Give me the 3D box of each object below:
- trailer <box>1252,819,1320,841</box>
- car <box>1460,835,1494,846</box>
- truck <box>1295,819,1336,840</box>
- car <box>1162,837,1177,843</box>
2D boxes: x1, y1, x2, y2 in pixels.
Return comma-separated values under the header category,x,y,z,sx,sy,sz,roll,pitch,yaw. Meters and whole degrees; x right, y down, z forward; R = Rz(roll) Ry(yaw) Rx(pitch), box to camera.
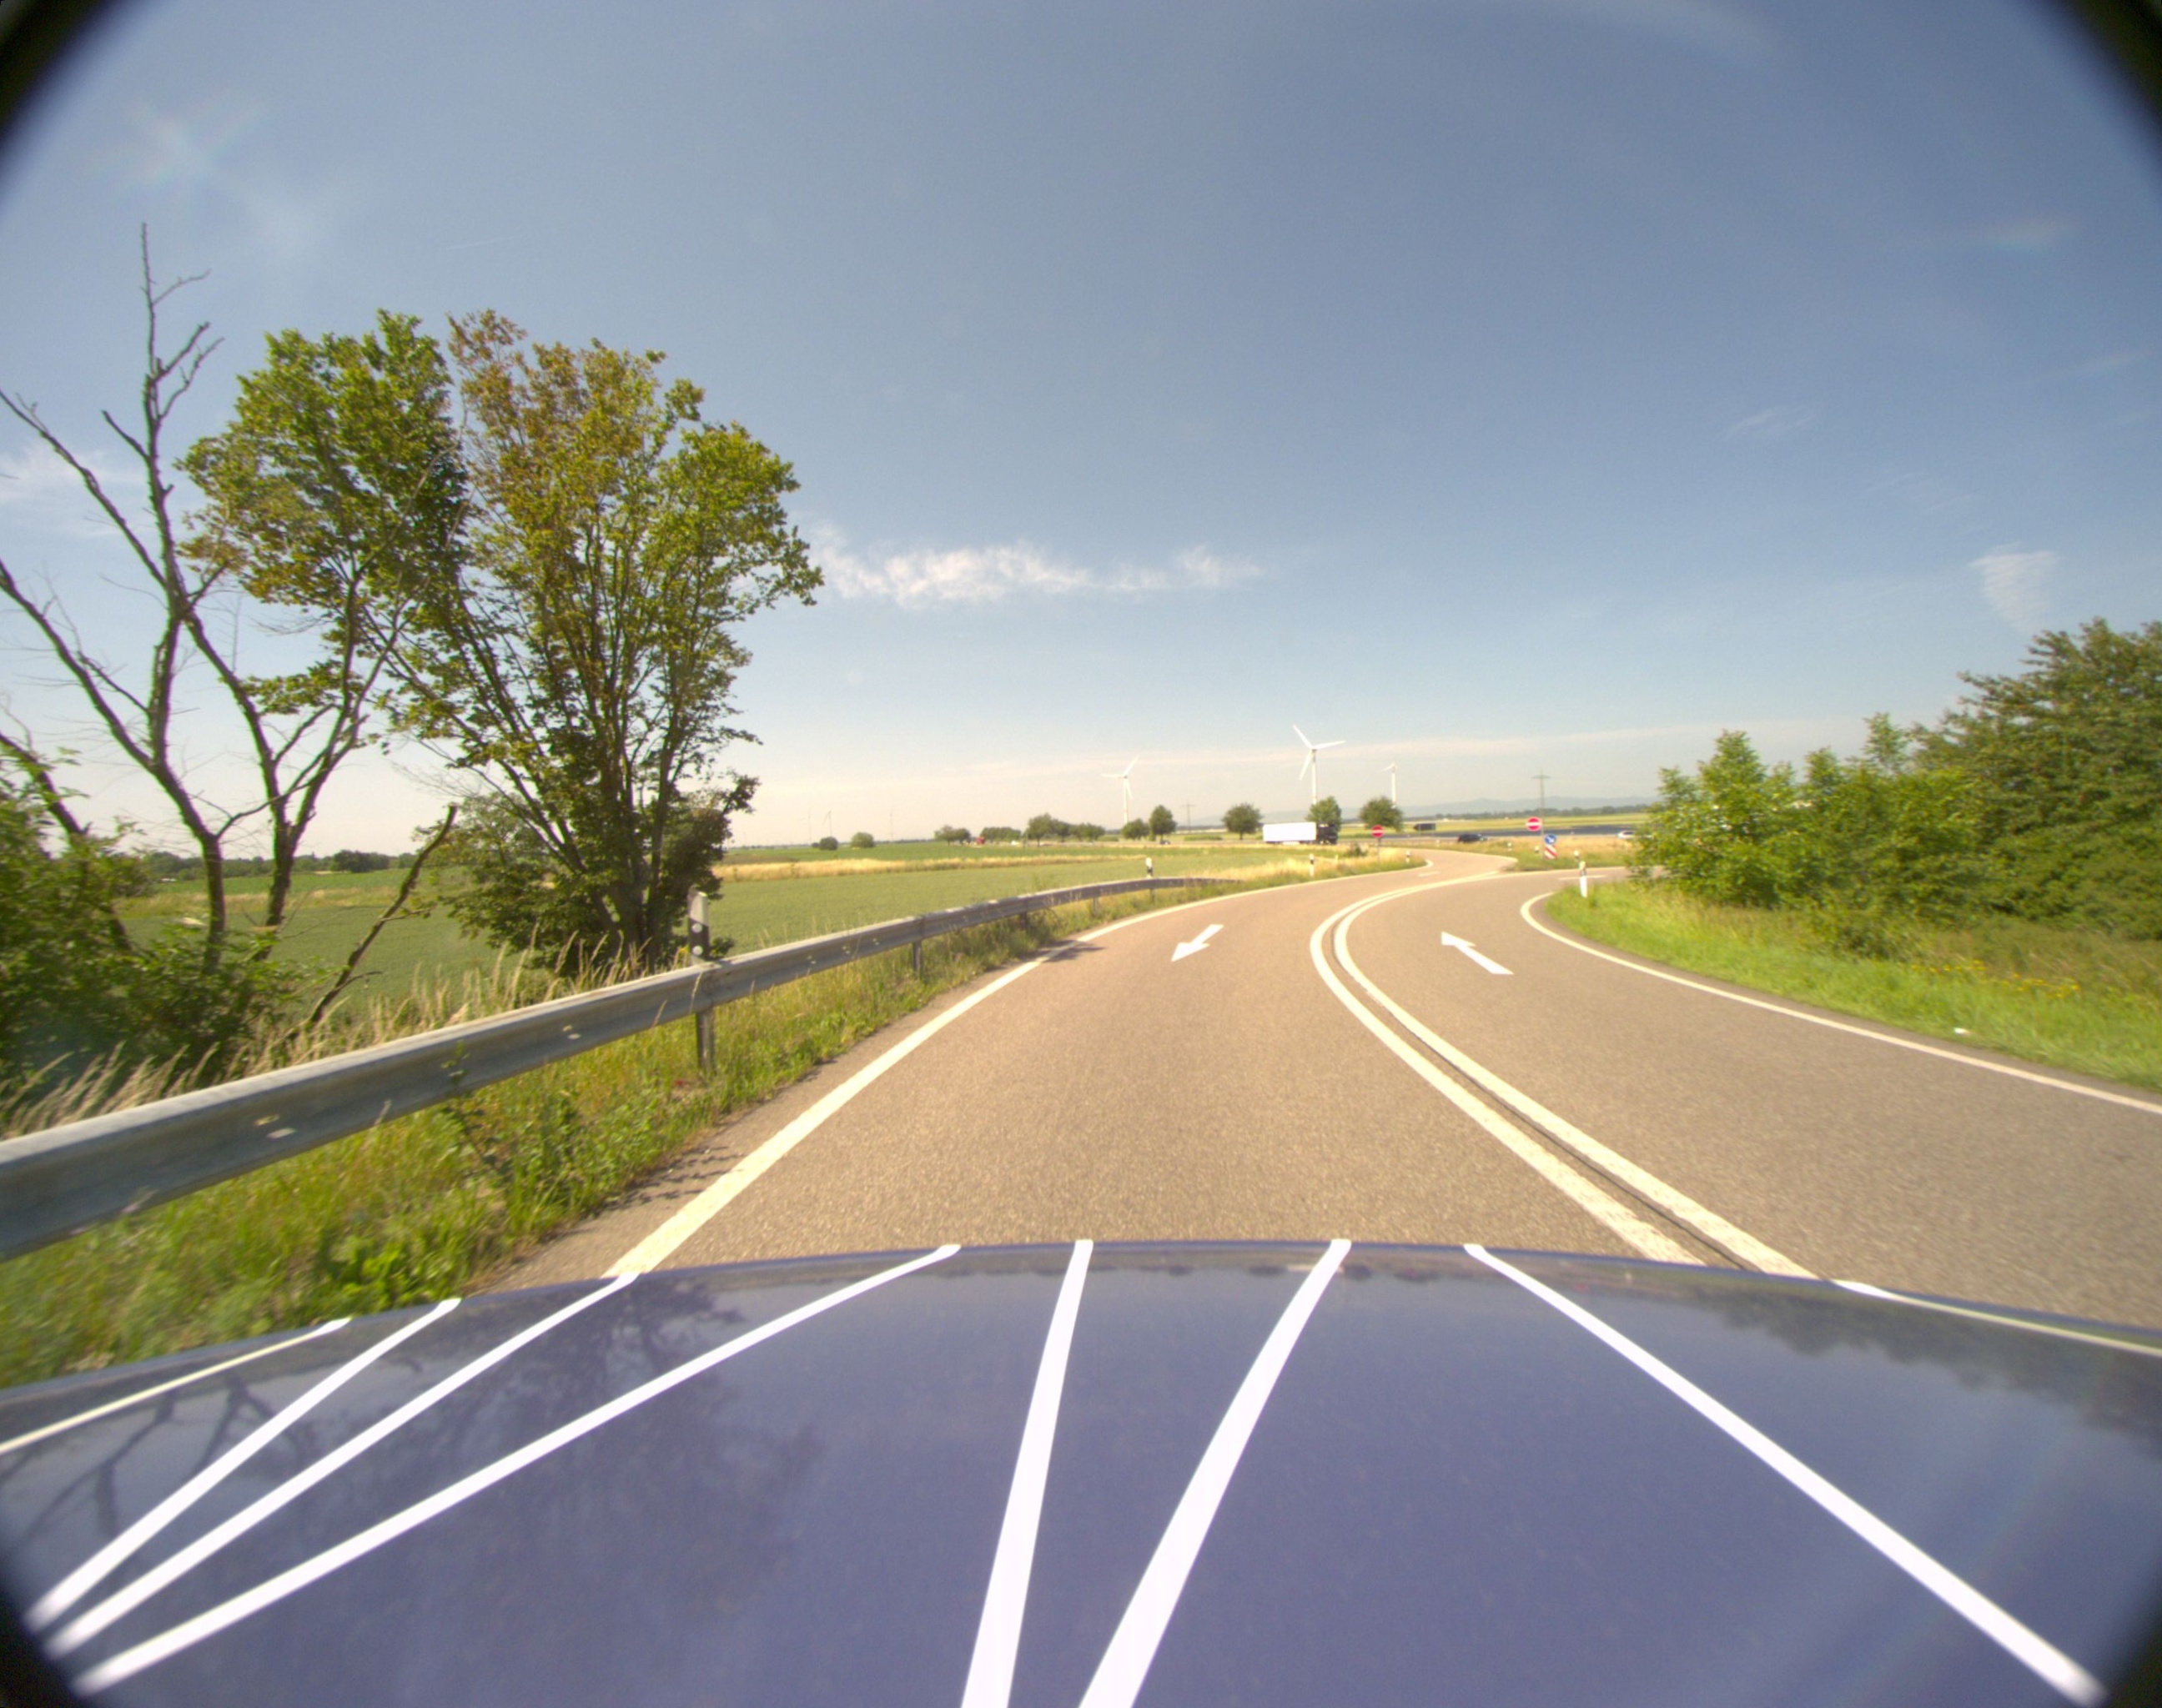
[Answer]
category,x,y,z,sx,sy,sz,roll,pitch,yaw
trailer,36.117,-4.177,134.940,3.106,3.624,14.481,-2,2,-25
car,54.326,-1.873,104.374,1.683,1.346,3.991,-2,2,-23
truck,39.411,-4.089,127.937,3.119,3.498,6.222,-2,2,-25
car,21.588,-3.509,185.315,1.683,1.346,3.991,-2,2,-25
